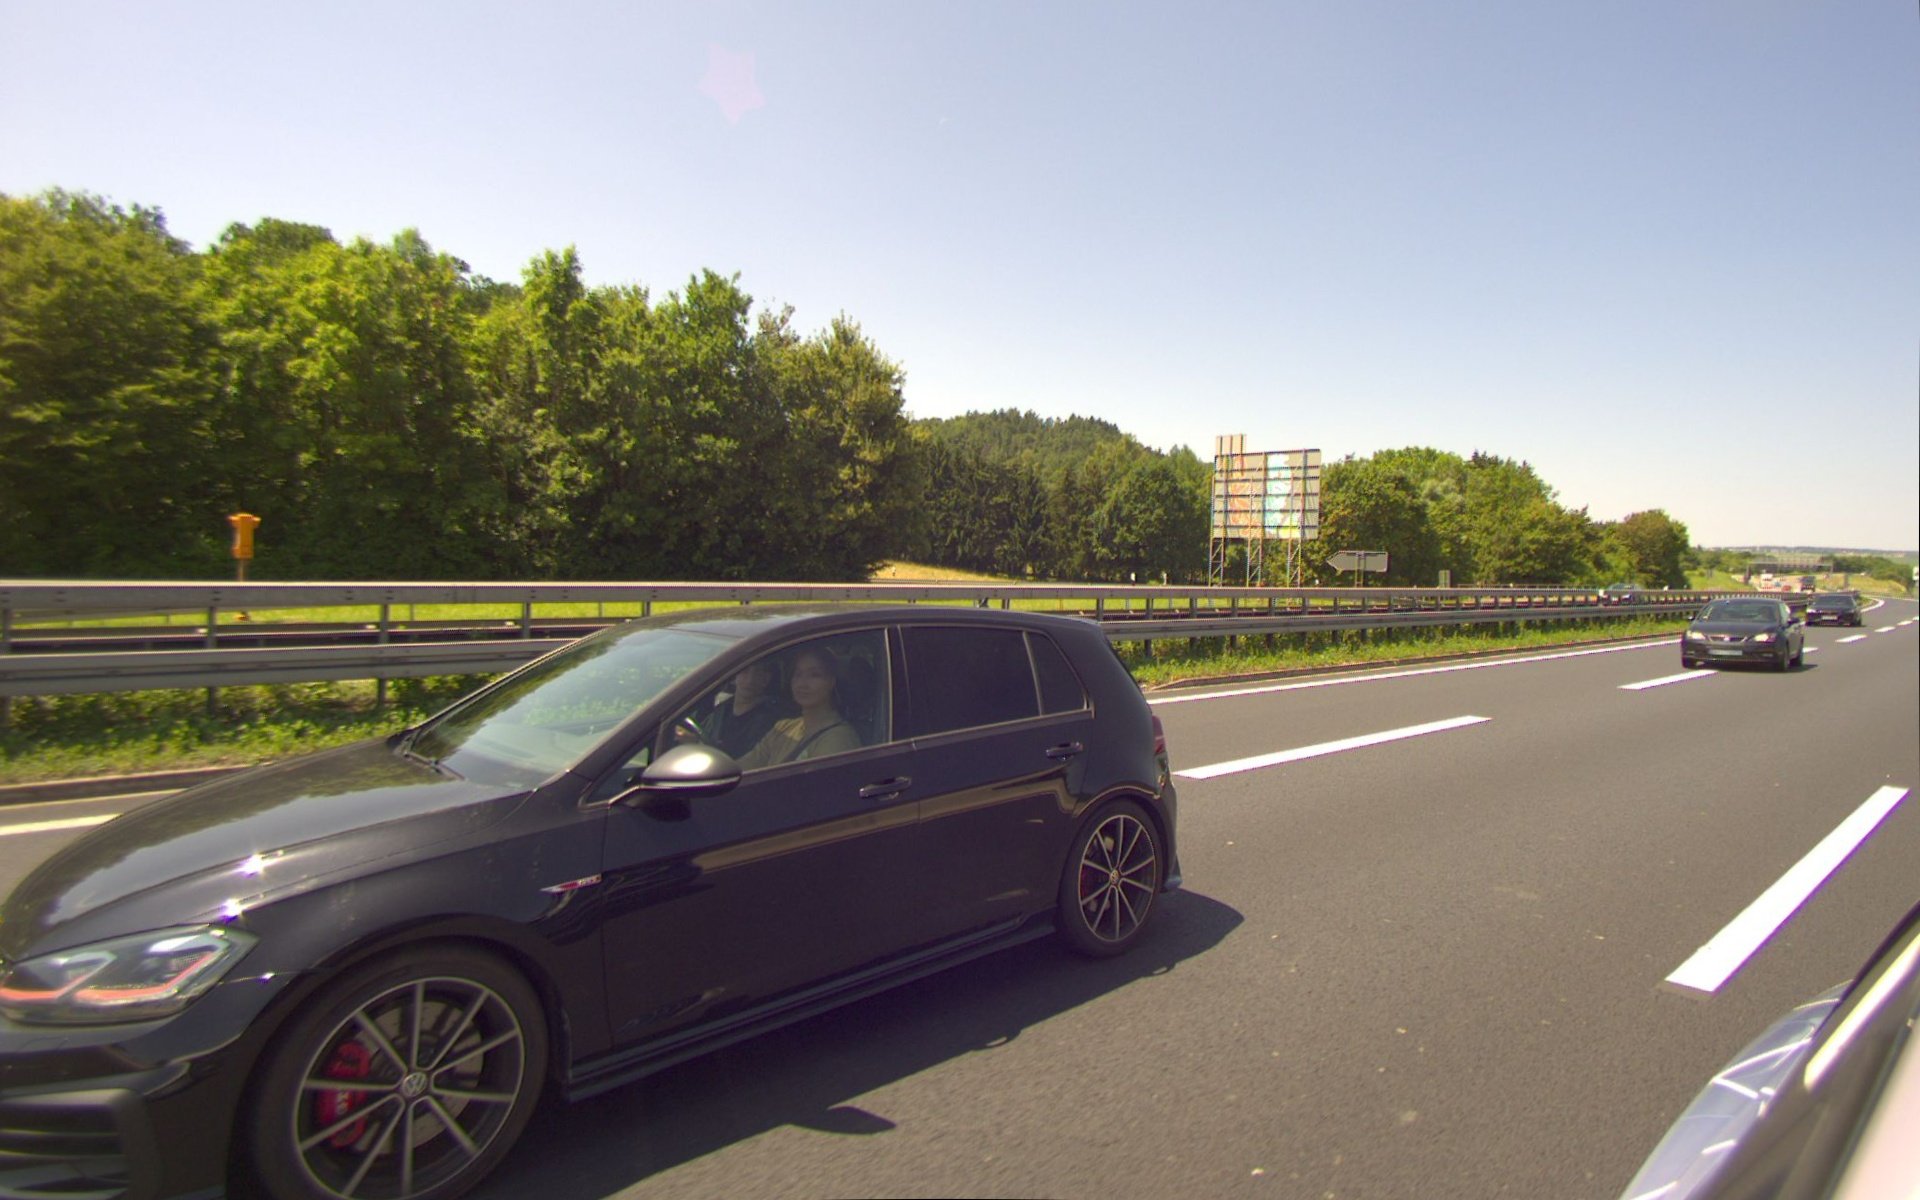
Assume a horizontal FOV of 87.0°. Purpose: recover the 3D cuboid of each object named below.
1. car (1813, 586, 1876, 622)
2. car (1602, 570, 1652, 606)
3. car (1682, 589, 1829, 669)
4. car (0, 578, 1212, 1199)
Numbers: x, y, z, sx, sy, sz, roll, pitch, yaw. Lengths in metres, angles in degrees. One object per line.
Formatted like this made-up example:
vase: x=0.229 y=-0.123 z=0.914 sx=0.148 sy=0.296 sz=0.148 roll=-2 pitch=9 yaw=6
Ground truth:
car: x=39.784 y=0.146 z=45.497 sx=1.888 sy=1.491 sz=3.805 roll=1 pitch=2 yaw=45
car: x=40.065 y=-0.748 z=60.735 sx=1.992 sy=2.038 sz=3.941 roll=2 pitch=2 yaw=41
car: x=16.257 y=0.513 z=20.633 sx=3.697 sy=1.417 sz=1.779 roll=-1 pitch=2 yaw=-42
car: x=-0.949 y=0.655 z=3.784 sx=3.898 sy=1.453 sz=1.797 roll=-1 pitch=2 yaw=-42
